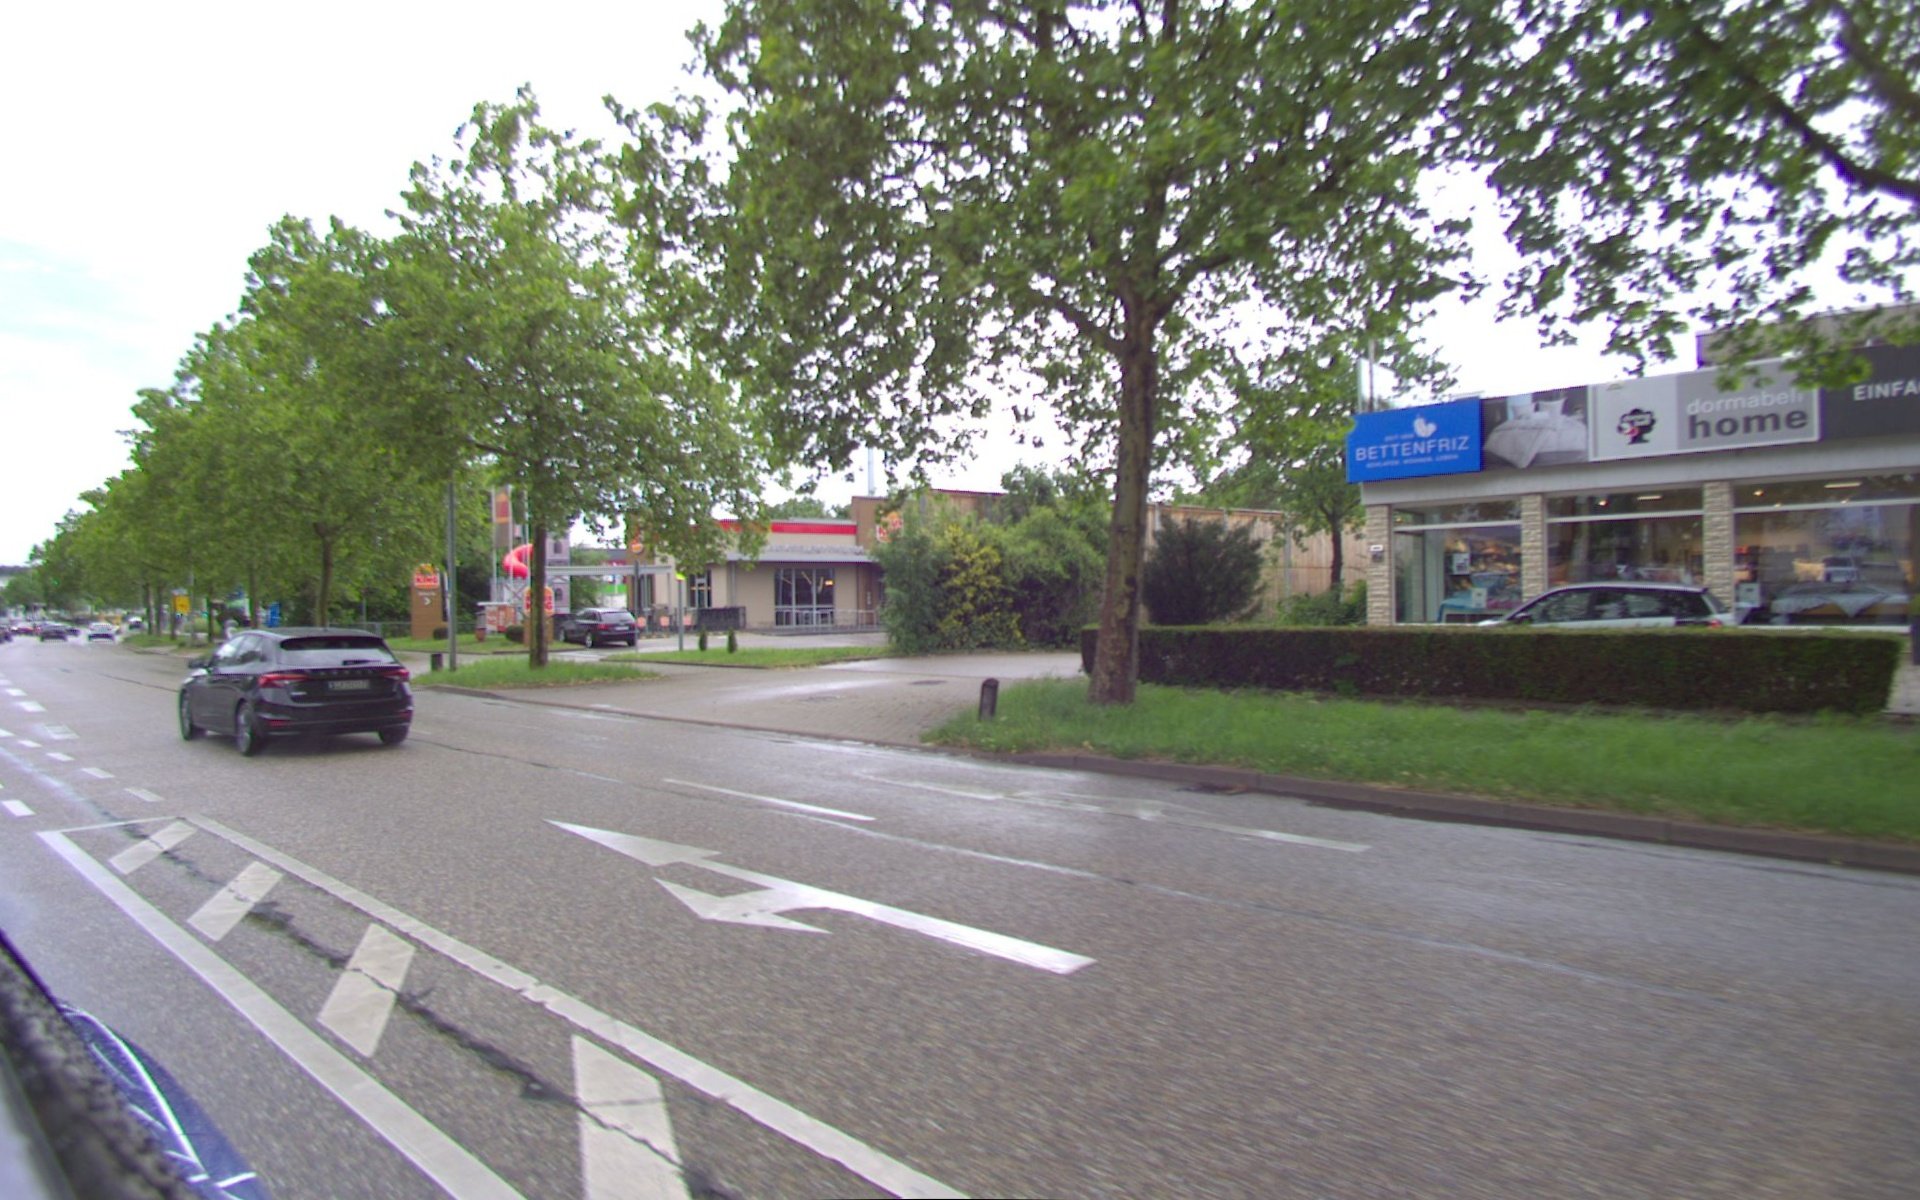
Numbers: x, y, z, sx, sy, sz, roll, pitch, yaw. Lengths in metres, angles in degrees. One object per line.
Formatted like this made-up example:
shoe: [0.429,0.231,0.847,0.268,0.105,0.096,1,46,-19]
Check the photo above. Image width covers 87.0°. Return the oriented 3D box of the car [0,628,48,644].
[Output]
car: [-98.210,3.763,105.778,1.805,1.552,3.965,0,0,26]

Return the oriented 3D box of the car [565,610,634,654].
car: [-13.645,1.181,38.213,1.416,1.437,3.197,-1,2,-40]

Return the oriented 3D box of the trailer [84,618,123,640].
trailer: [-103.416,3.533,122.333,2.272,2.492,7.994,-2,-1,-31]

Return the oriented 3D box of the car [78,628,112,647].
car: [-77.247,3.338,90.373,4.400,1.631,1.906,-1,-1,44]

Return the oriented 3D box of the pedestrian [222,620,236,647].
pedestrian: [-48.675,2.216,67.395,0.655,1.780,0.585,-1,-1,-25]

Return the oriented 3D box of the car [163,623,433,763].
car: [-8.330,1.040,12.623,3.842,1.474,1.785,-2,-2,40]

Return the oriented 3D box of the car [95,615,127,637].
car: [-105.572,3.246,125.944,2.208,2.492,5.030,-2,-1,-31]

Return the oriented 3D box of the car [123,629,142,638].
car: [-132.190,5.275,161.642,1.758,1.415,4.012,0,-2,-31]

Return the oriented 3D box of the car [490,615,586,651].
car: [-16.332,1.277,39.229,3.136,1.164,1.293,-3,1,-40]

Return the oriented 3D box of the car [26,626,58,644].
car: [-80.480,3.105,88.798,1.969,1.520,4.736,1,-3,-41]

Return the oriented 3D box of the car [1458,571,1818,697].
car: [9.281,0.457,14.019,3.937,1.497,1.804,-2,-2,41]

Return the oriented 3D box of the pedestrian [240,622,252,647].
pedestrian: [-48.185,2.321,68.301,0.541,1.695,0.506,-2,-2,44]
